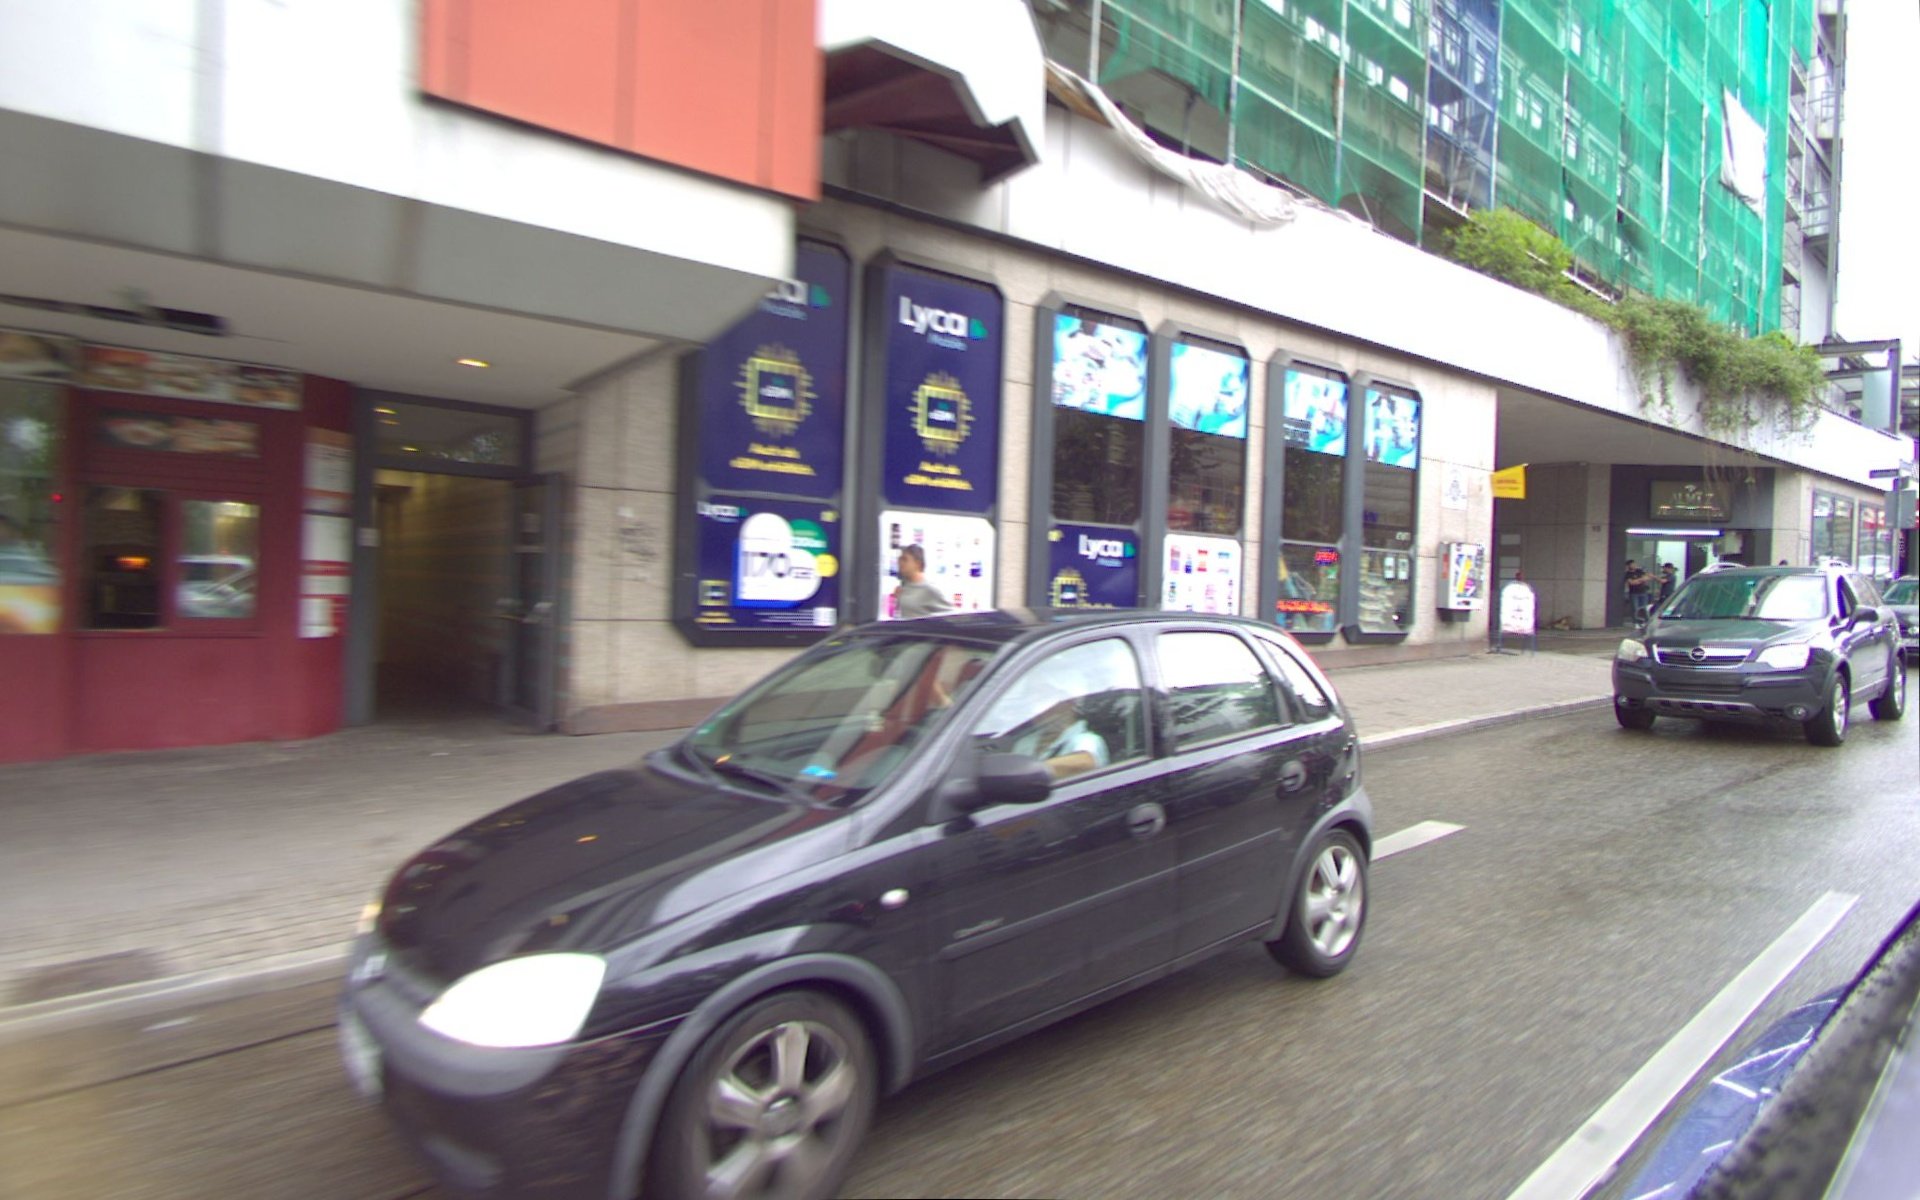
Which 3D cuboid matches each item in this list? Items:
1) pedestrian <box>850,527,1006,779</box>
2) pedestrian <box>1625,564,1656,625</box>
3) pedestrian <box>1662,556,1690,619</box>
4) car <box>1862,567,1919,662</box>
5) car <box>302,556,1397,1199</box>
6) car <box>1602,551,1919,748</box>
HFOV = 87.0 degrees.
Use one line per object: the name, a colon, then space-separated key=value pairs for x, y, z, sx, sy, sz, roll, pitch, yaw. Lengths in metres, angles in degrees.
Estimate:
pedestrian: x=-0.266 y=0.357 z=7.956 sx=0.790 sy=1.799 sz=0.899 roll=-2 pitch=7 yaw=-36
pedestrian: x=17.318 y=-0.146 z=25.776 sx=0.518 sy=1.506 sz=0.426 roll=1 pitch=3 yaw=20
pedestrian: x=17.478 y=-0.325 z=24.689 sx=0.516 sy=1.506 sz=0.428 roll=-3 pitch=4 yaw=-43
car: x=16.756 y=0.188 z=16.944 sx=3.706 sy=1.448 sz=1.683 roll=-3 pitch=2 yaw=-35
car: x=-0.081 y=0.655 z=3.573 sx=3.564 sy=1.459 sz=1.595 roll=1 pitch=0 yaw=-41
car: x=8.627 y=0.360 z=10.707 sx=4.171 sy=1.699 sz=1.736 roll=-2 pitch=2 yaw=-37
